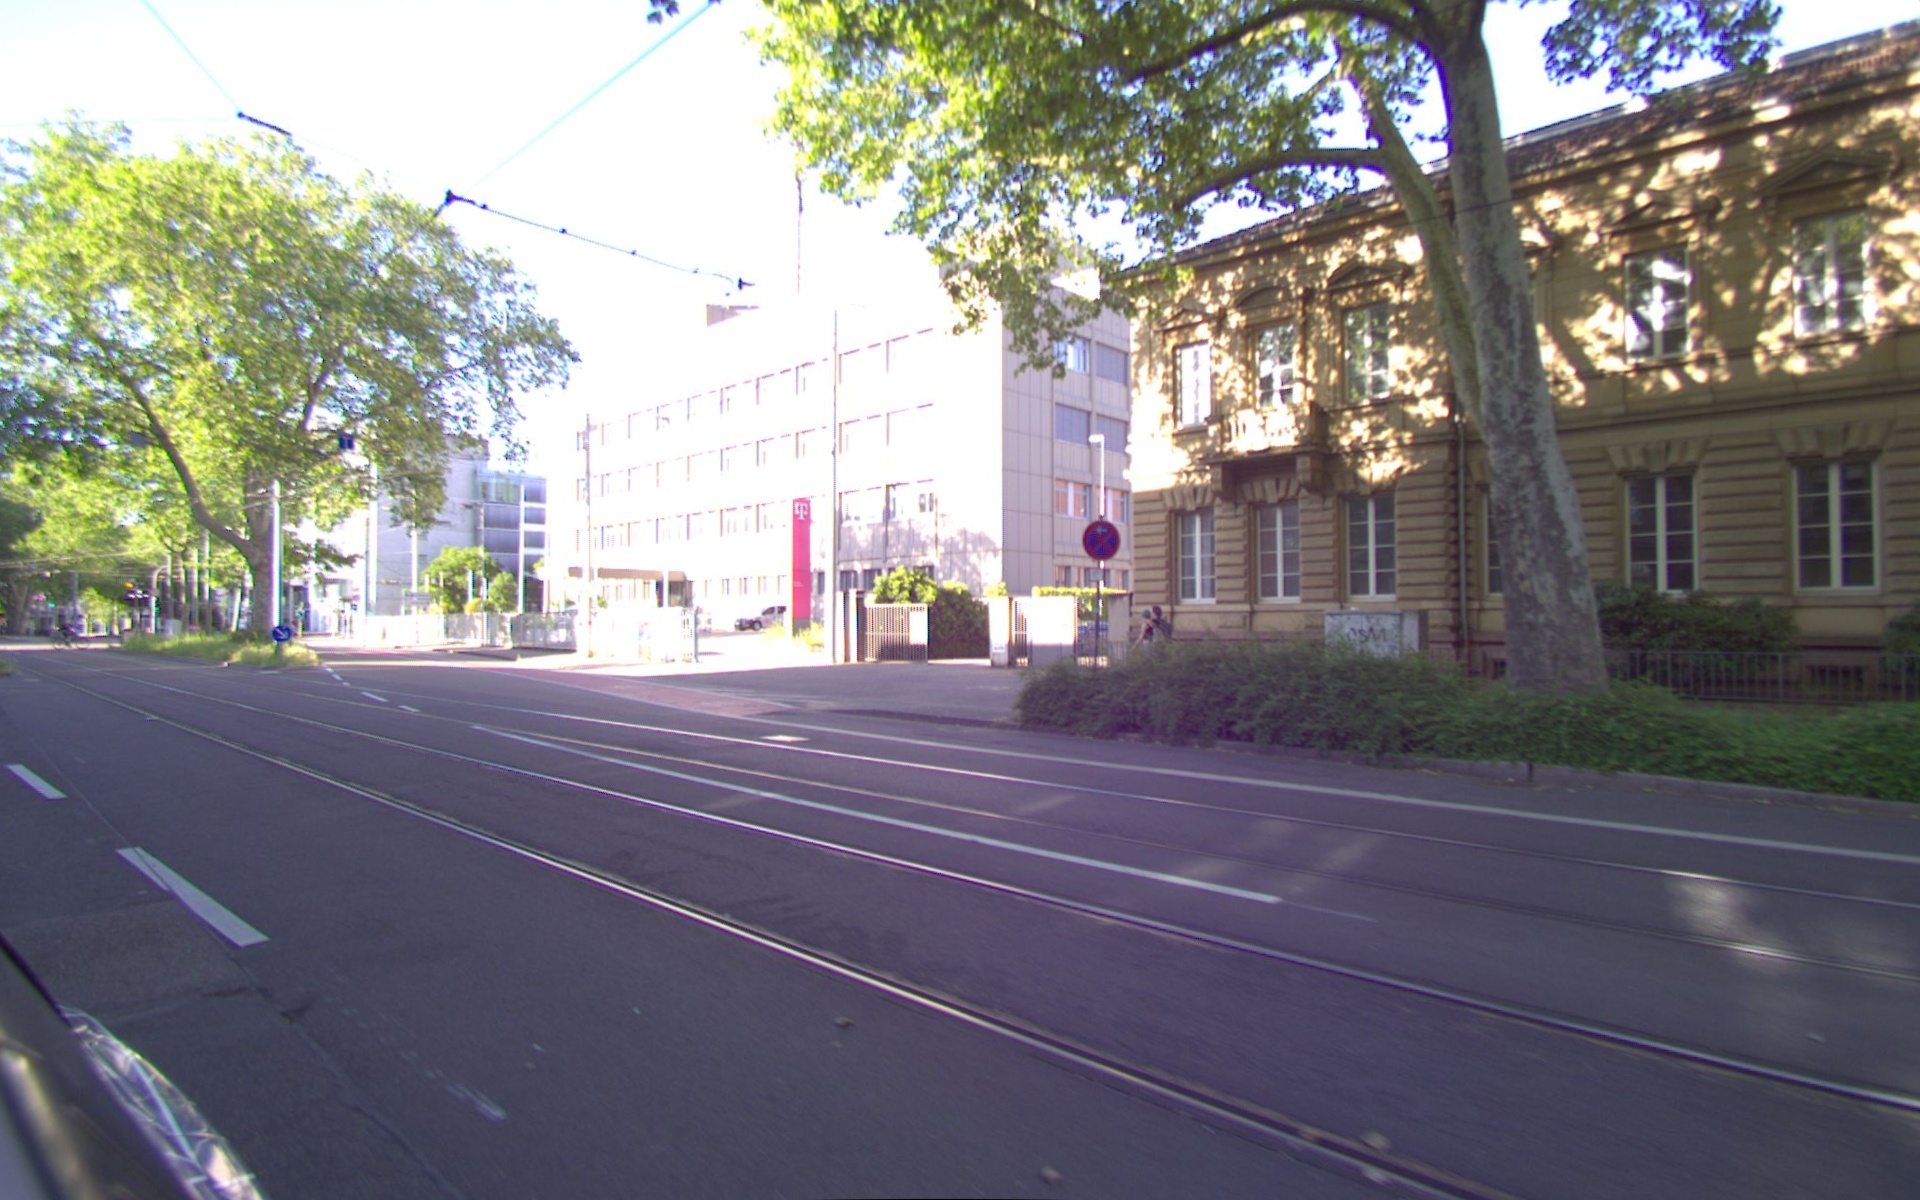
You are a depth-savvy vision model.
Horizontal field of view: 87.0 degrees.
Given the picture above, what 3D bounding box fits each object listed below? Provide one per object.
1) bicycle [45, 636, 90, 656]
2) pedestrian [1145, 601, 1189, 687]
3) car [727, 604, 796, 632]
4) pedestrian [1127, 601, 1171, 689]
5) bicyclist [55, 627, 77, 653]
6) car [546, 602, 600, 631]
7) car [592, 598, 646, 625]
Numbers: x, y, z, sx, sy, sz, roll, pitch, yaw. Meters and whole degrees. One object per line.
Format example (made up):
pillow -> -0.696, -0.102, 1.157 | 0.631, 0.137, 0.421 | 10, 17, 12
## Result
bicycle -> -55.057, 2.833, 62.465 | 2.050, 1.137, 0.761 | 0, -1, -38
pedestrian -> 4.233, 0.889, 20.688 | 0.660, 1.710, 0.665 | -1, -1, 35
car -> -12.935, 1.140, 66.079 | 1.853, 1.732, 4.222 | -1, -1, 42
pedestrian -> 3.776, 0.875, 20.177 | 0.655, 1.710, 0.628 | -1, -1, 35
bicyclist -> -55.129, 2.458, 62.410 | 0.992, 1.588, 0.762 | 0, -1, -38
car -> -26.000, 1.104, 67.914 | 3.999, 1.831, 1.828 | -1, -1, 42
car -> -23.439, 0.801, 69.558 | 3.999, 1.765, 1.828 | -1, -1, 42
